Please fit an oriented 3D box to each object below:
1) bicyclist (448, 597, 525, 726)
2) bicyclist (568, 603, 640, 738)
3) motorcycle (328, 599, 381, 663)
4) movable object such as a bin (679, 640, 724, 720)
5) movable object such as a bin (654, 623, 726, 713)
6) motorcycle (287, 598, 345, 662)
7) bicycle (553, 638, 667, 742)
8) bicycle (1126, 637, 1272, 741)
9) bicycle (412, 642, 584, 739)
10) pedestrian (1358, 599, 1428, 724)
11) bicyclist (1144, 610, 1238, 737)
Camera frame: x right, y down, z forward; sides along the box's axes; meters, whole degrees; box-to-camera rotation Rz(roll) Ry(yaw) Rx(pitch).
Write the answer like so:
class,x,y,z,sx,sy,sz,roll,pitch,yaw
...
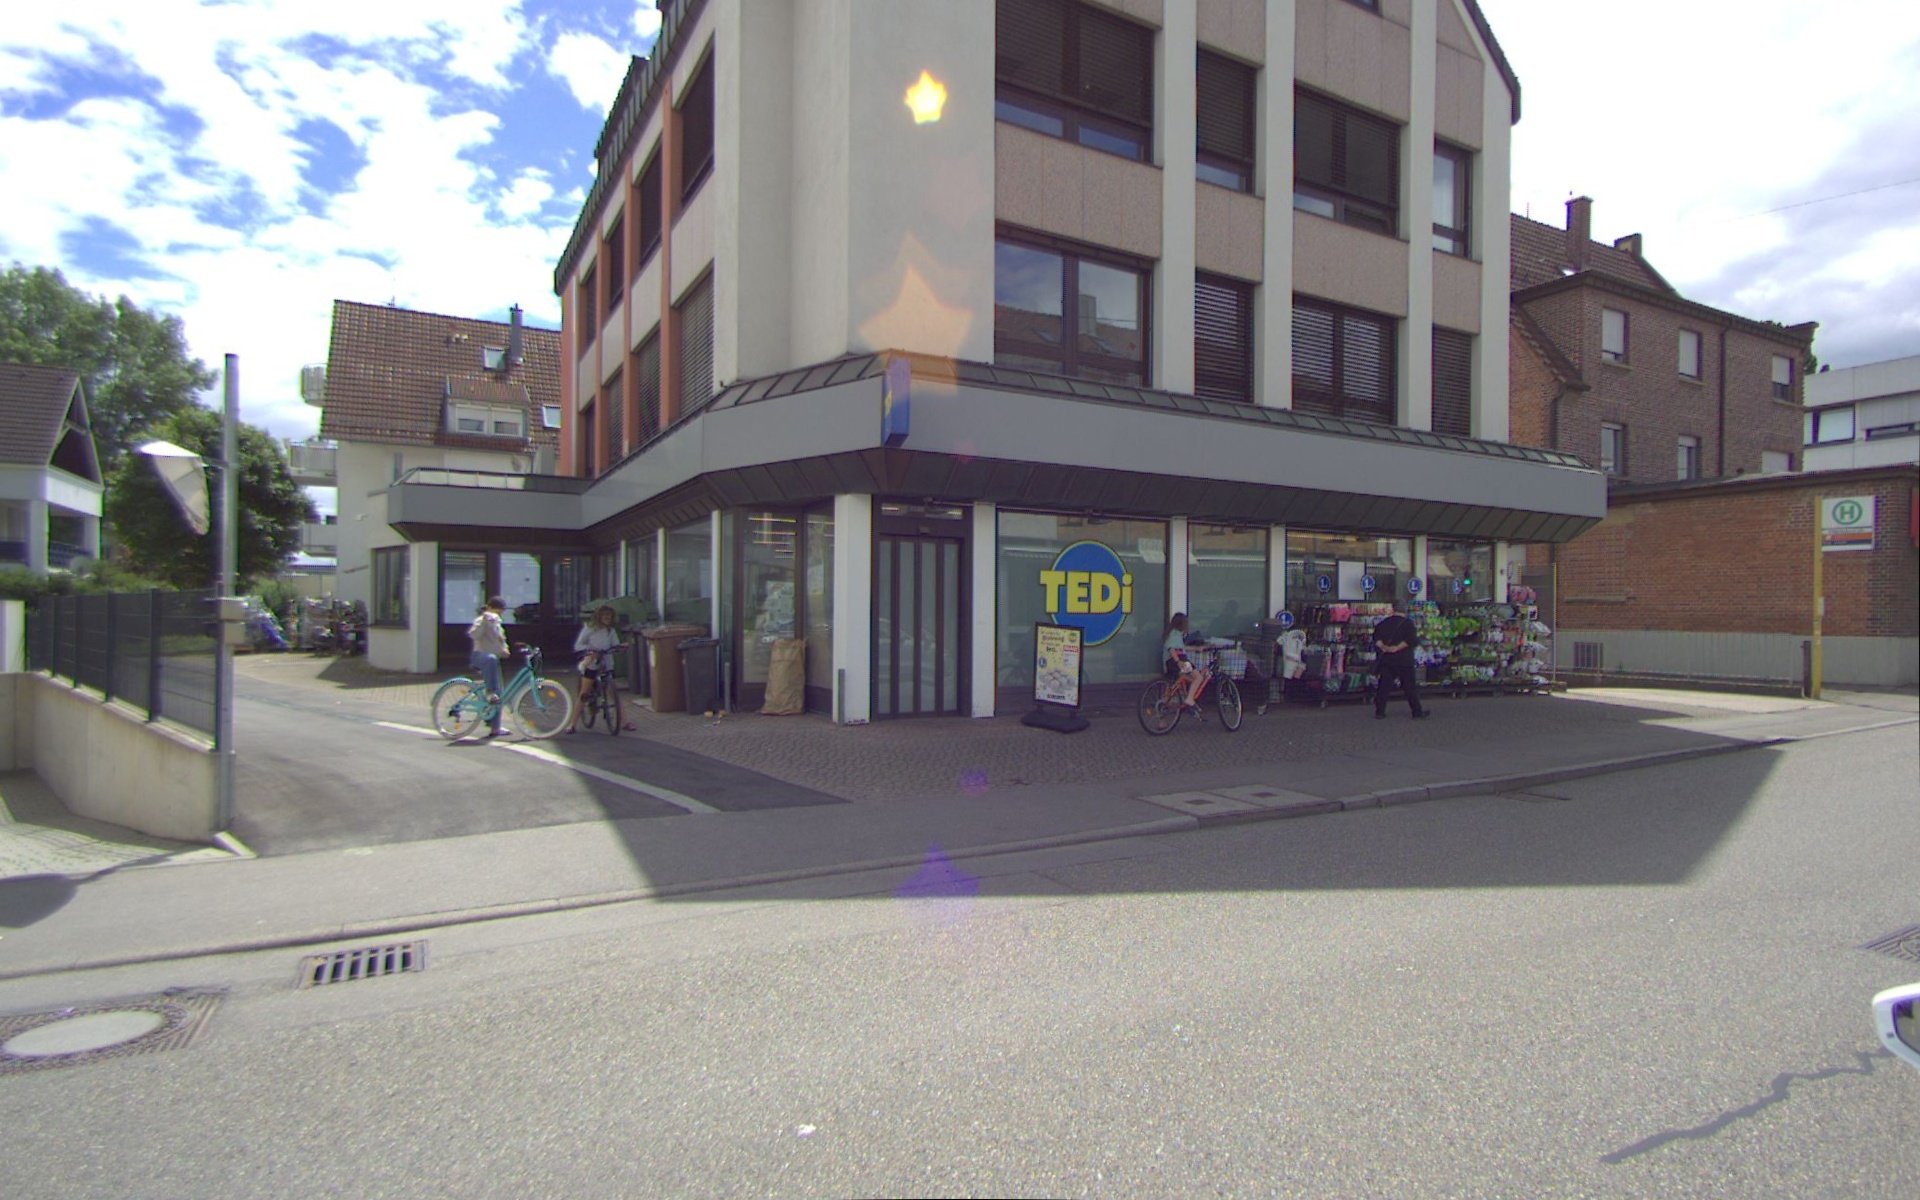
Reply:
class,x,y,z,sx,sy,sz,roll,pitch,yaw
bicyclist,-4.808,0.608,10.221,0.418,1.258,0.642,2,0,3
bicyclist,-3.824,0.733,10.787,0.585,1.384,0.419,-2,1,-44
motorcycle,-15.631,0.768,26.003,0.849,1.539,3.778,1,-1,-26
movable object such as a bin,-3.176,0.968,12.335,0.438,0.923,0.405,-2,1,-30
movable object such as a bin,-3.476,0.853,12.925,0.729,1.080,0.680,-2,1,-30
motorcycle,-16.778,0.752,26.252,0.849,1.539,3.595,1,-1,-26
bicycle,-3.779,0.925,10.762,0.551,0.967,1.670,0,0,-42
bicycle,2.736,0.981,11.431,1.714,1.064,0.441,1,6,-31
bicycle,-4.678,0.903,10.196,1.557,0.929,0.459,0,0,6
pedestrian,5.732,0.793,13.320,0.757,1.579,0.574,2,0,20
bicyclist,2.650,0.823,11.559,0.753,1.355,0.664,0,4,-30
